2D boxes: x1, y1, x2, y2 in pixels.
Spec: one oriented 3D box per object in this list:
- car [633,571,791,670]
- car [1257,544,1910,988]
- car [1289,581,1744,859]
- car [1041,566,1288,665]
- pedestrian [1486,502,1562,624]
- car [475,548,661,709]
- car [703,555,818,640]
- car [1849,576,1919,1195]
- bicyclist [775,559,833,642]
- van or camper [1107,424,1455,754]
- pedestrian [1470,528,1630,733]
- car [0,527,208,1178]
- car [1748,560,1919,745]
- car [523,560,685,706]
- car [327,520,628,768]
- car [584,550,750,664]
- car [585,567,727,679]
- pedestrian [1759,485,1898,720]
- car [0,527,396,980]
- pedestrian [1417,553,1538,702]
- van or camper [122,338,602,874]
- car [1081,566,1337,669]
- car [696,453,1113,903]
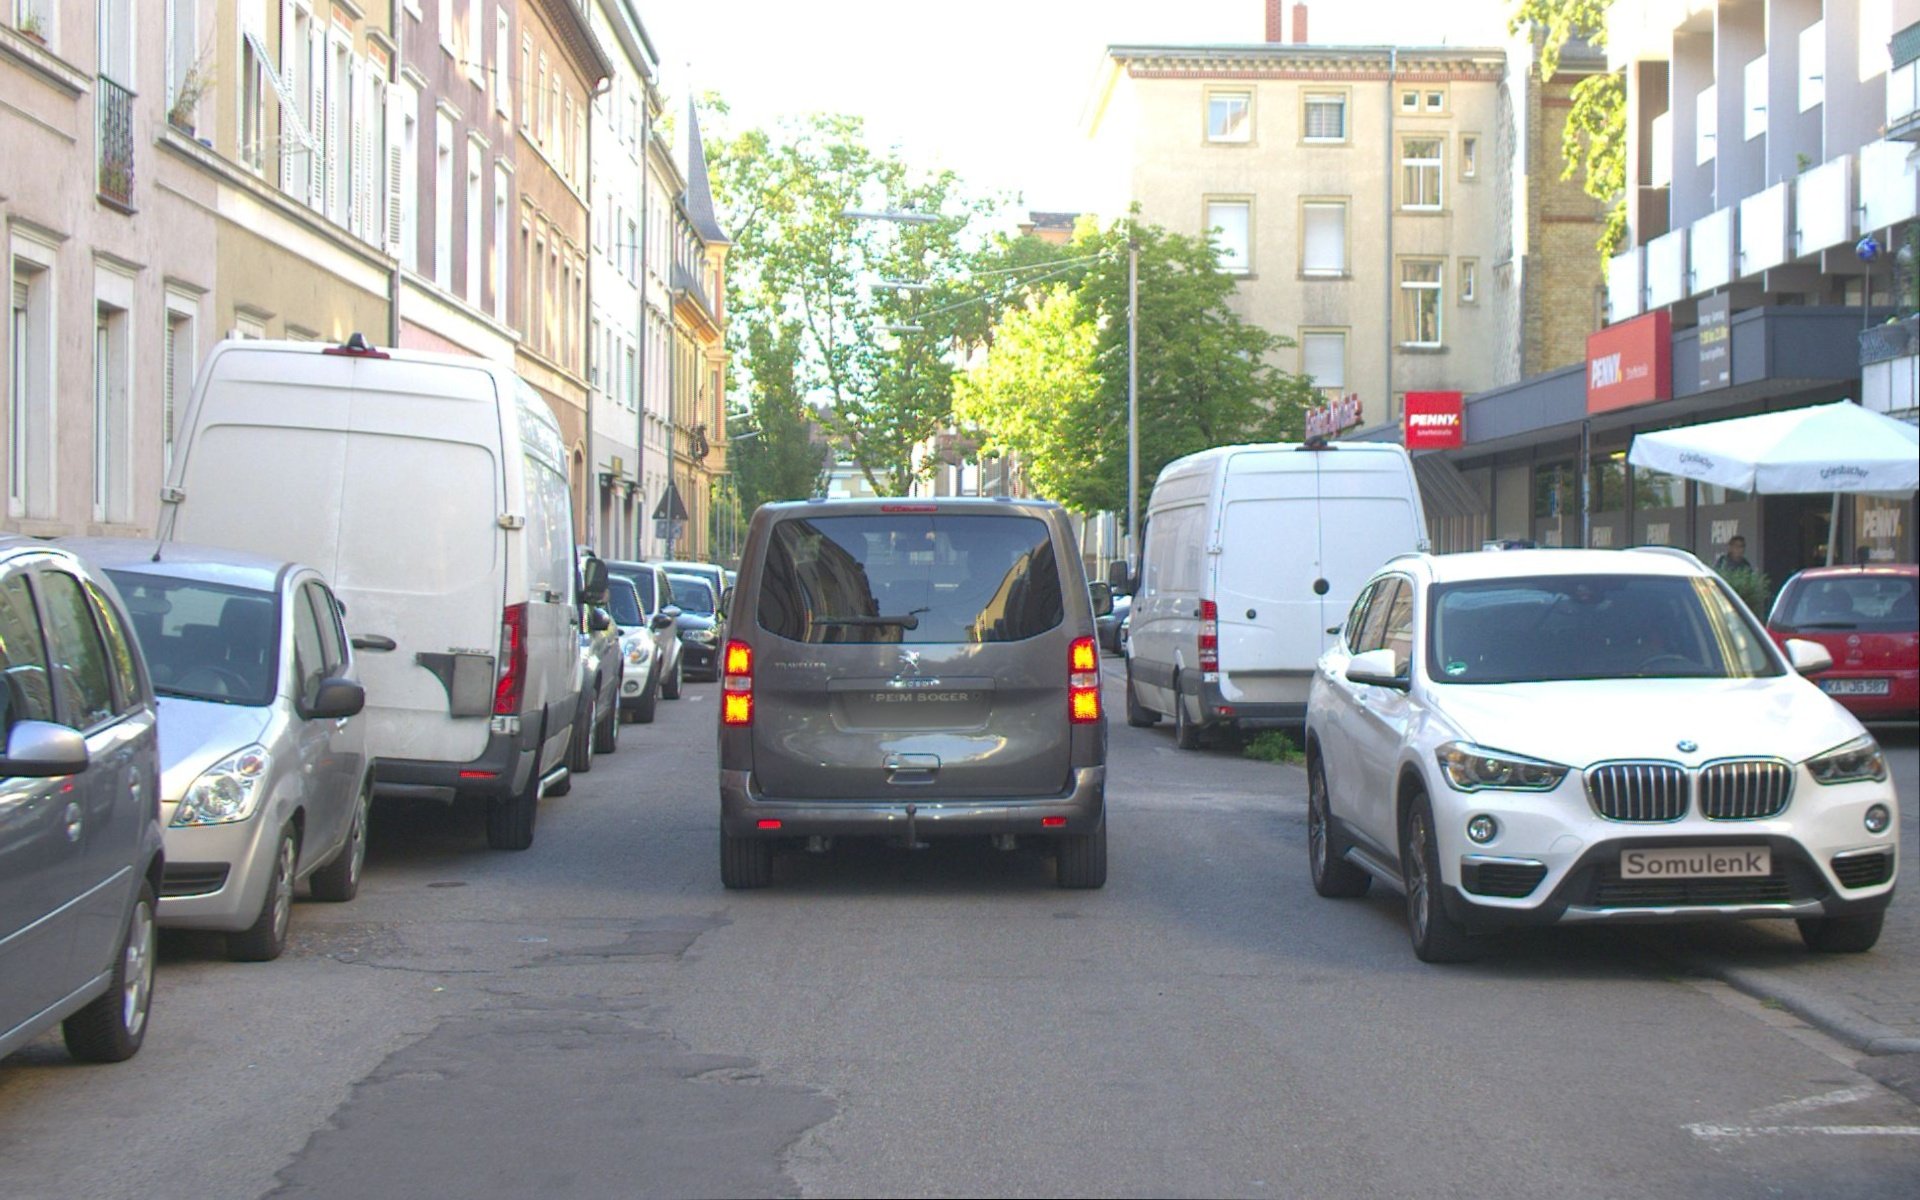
[{"bbox_3d":[-4.106,0.315,57.644,1.994,1.555,4.584,1,0,4],"label":"car"},{"bbox_3d":[2.484,0.603,14.872,1.722,1.606,4.589,1,0,-3],"label":"car"},{"bbox_3d":[3.057,0.600,19.757,1.722,1.383,4.295,-1,1,-3],"label":"car"},{"bbox_3d":[4.058,0.295,68.634,4.568,1.852,2.000,1,0,-8],"label":"car"},{"bbox_3d":[9.076,-0.593,55.290,1.087,1.938,0.871,0,0,17],"label":"pedestrian"},{"bbox_3d":[-3.870,0.249,34.395,1.710,1.492,3.856,1,0,-5],"label":"car"},{"bbox_3d":[-3.923,-0.041,67.180,2.144,1.555,4.585,1,0,-4],"label":"car"},{"bbox_3d":[3.111,0.680,6.707,1.620,1.481,4.124,-1,0,-1],"label":"car"},{"bbox_3d":[-3.002,0.008,66.305,1.034,1.572,0.833,0,0,4],"label":"bicyclist"},{"bbox_3d":[2.692,-0.113,30.847,2.099,2.593,7.513,0,0,-2],"label":"van or camper"},{"bbox_3d":[4.627,0.228,26.999,0.870,1.550,0.876,-2,1,-23],"label":"pedestrian"},{"bbox_3d":[-3.251,0.592,9.064,1.711,1.638,3.980,3,0,-2],"label":"car"},{"bbox_3d":[7.500,0.394,28.011,1.602,1.411,3.225,0,0,22],"label":"car"},{"bbox_3d":[-3.901,0.342,37.946,1.386,1.527,2.749,1,0,2],"label":"car"},{"bbox_3d":[-3.669,0.296,26.825,1.863,1.745,4.293,1,0,-2],"label":"car"},{"bbox_3d":[-4.358,0.083,51.738,1.993,1.599,4.585,1,0,1],"label":"car"},{"bbox_3d":[-4.094,0.281,46.829,1.788,1.393,4.468,2,0,-4],"label":"car"},{"bbox_3d":[8.051,0.019,31.898,0.872,2.138,0.956,0,0,-17],"label":"pedestrian"},{"bbox_3d":[-3.478,0.554,14.709,1.590,1.680,3.653,1,0,-2],"label":"car"},{"bbox_3d":[6.102,0.315,40.560,0.932,1.715,1.063,-1,0,-35],"label":"pedestrian"},{"bbox_3d":[-3.333,0.006,20.617,1.949,2.640,7.142,-1,0,-3],"label":"van or camper"},{"bbox_3d":[4.773,0.327,66.214,4.568,1.852,2.000,1,0,-8],"label":"car"},{"bbox_3d":[-0.305,0.332,17.627,1.857,2.007,4.000,-1,1,-2],"label":"car"}]
